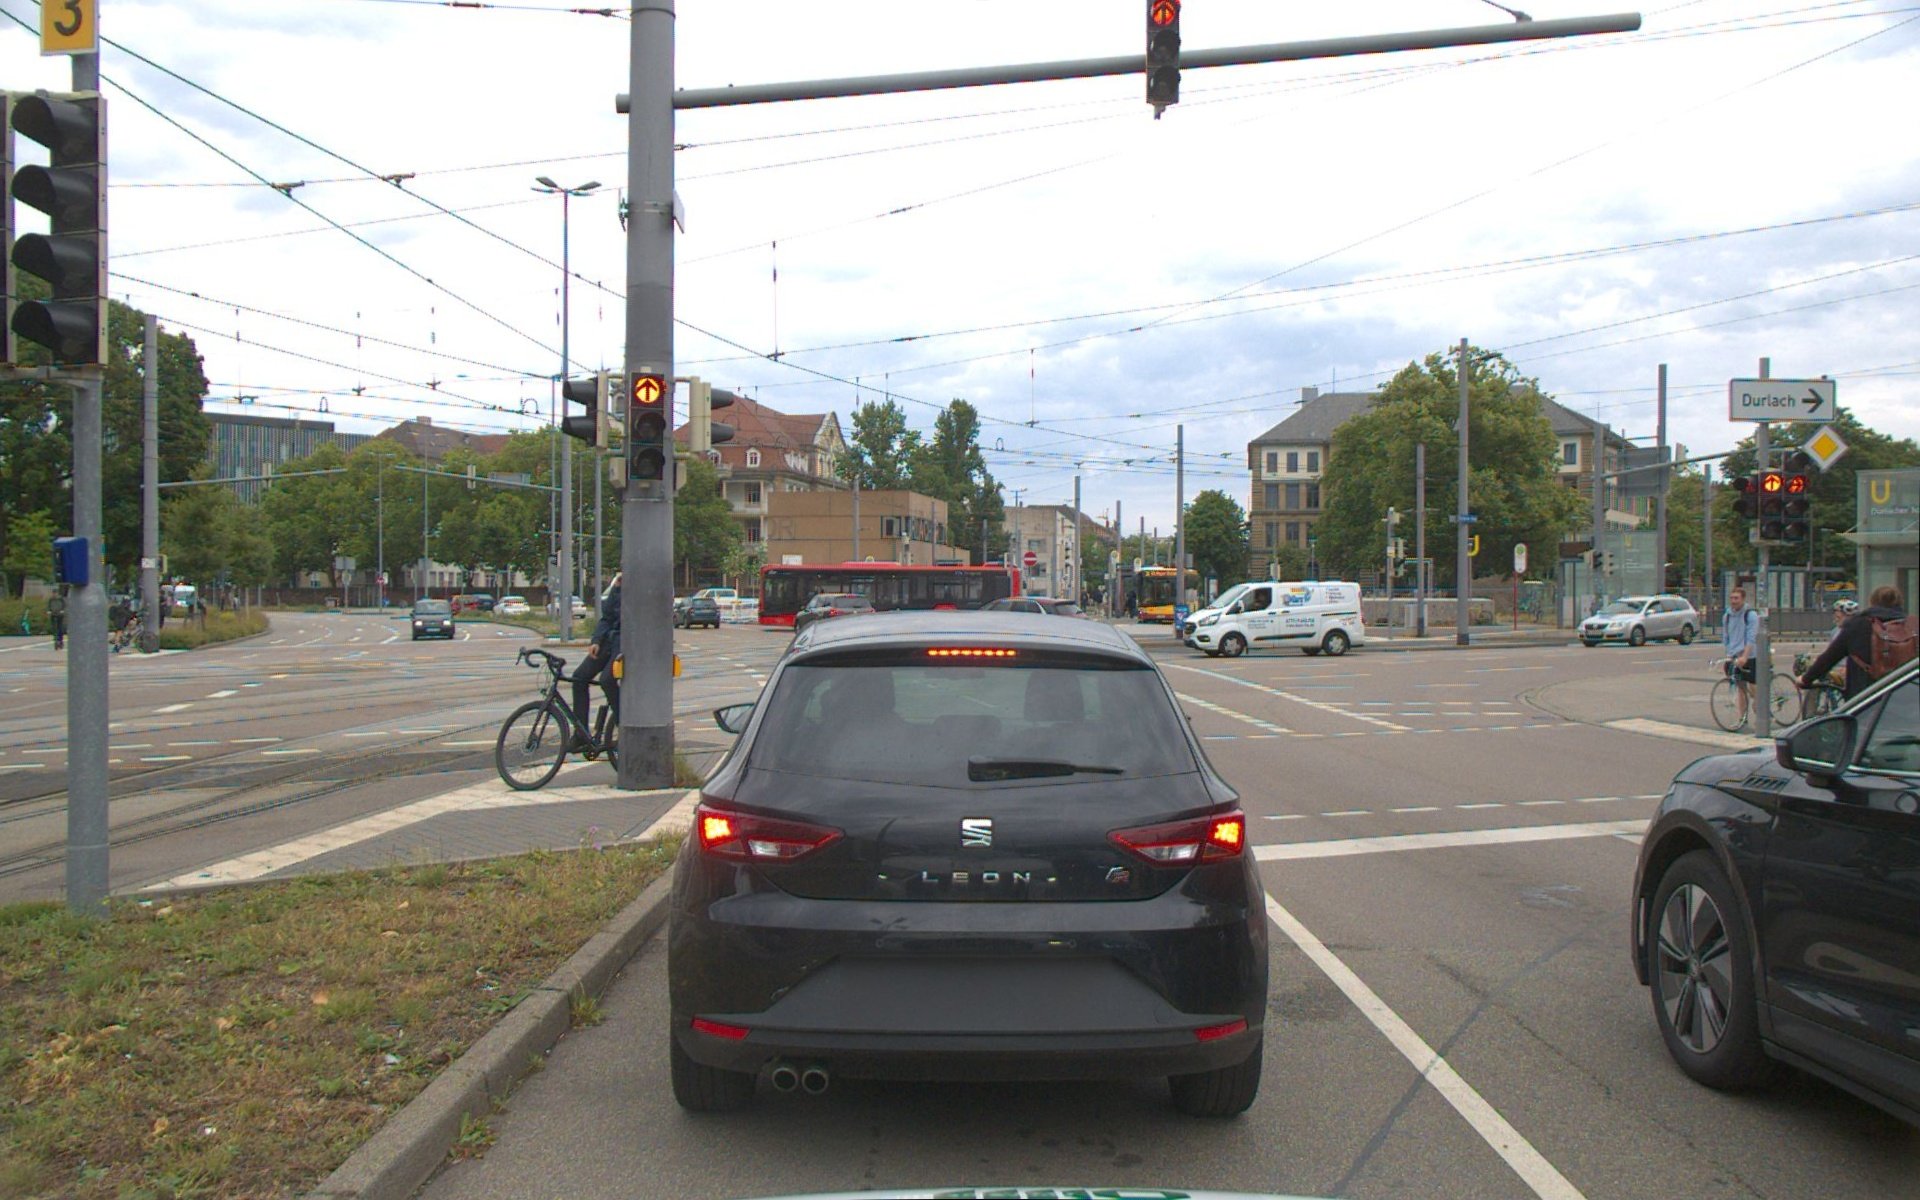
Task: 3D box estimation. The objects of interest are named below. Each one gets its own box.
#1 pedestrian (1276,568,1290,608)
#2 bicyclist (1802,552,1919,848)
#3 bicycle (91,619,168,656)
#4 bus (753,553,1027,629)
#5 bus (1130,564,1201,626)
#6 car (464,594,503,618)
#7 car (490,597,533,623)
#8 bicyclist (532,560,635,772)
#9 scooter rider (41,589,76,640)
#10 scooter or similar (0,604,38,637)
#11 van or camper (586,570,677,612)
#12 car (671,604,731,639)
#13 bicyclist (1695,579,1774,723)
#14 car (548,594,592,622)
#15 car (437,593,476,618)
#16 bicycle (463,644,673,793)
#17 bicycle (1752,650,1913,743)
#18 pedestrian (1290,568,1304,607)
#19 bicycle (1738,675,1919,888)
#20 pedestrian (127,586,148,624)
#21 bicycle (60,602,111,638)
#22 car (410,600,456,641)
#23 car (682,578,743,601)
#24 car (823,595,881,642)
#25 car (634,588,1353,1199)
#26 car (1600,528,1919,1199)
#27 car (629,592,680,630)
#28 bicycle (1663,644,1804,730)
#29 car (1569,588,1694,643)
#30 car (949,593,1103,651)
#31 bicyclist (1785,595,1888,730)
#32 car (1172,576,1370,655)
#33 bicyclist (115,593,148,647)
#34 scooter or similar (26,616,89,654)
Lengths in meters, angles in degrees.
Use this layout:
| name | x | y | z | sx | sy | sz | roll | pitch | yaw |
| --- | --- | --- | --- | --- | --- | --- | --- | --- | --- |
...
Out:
| name | x | y | z | sx | sy | sz | roll | pitch | yaw |
| --- | --- | --- | --- | --- | --- | --- | --- | --- | --- |
| pedestrian | 35.791 | -1.326 | 183.270 | 1.358 | 4.328 | 1.346 | 0 | 0 | 0 |
| bicyclist | 5.630 | 0.577 | 10.039 | 0.603 | 1.720 | 0.805 | 0 | 0 | -3 |
| bicycle | -26.842 | 1.215 | 53.489 | 2.082 | 1.046 | 0.790 | 3 | 0 | -21 |
| bus | -3.072 | -0.382 | 74.810 | 12.078 | 3.355 | 3.070 | 0 | 0 | 4 |
| bus | 11.868 | -0.275 | 94.490 | 2.952 | 3.325 | 13.054 | 0 | 0 | 12 |
| car | -36.486 | 0.466 | 126.550 | 1.973 | 1.780 | 3.959 | 0 | 0 | -30 |
| car | -29.072 | 0.638 | 107.124 | 1.969 | 1.668 | 3.966 | 0 | 0 | -26 |
| bicyclist | -3.057 | 0.517 | 13.436 | 0.649 | 1.668 | 0.510 | 0 | 0 | -40 |
| scooter rider | -29.279 | 0.466 | 53.722 | 0.556 | 1.656 | 0.822 | 0 | 0 | 20 |
| scooter or similar | -38.491 | 0.838 | 67.216 | 1.753 | 1.325 | 0.623 | -1 | 0 | -33 |
| van or camper | -27.355 | -0.753 | 137.900 | 2.828 | 3.390 | 7.102 | -2 | -1 | 44 |
| car | -12.397 | 1.011 | 78.976 | 1.966 | 1.566 | 3.972 | 0 | 0 | -23 |
| bicyclist | 9.878 | 0.634 | 21.101 | 0.724 | 1.782 | 0.581 | -1 | 0 | -27 |
| car | -25.354 | 0.525 | 107.386 | 1.969 | 1.780 | 3.966 | 0 | 0 | -26 |
| car | -36.485 | 0.399 | 119.827 | 1.971 | 1.803 | 3.962 | 0 | 0 | -29 |
| bicycle | -3.146 | 0.925 | 13.356 | 1.599 | 1.088 | 0.520 | -1 | 0 | -41 |
| bicycle | 10.322 | 1.126 | 19.565 | 1.912 | 1.016 | 0.598 | 0 | 0 | -22 |
| pedestrian | 37.313 | -1.385 | 183.231 | 1.280 | 4.328 | 1.346 | 0 | 0 | 0 |
| bicycle | 5.633 | 1.061 | 10.168 | 0.612 | 1.073 | 2.125 | 0 | 1 | -3 |
| pedestrian | -38.617 | 0.242 | 77.632 | 0.734 | 1.764 | 0.683 | -1 | 0 | -15 |
| bicycle | -37.005 | 0.834 | 69.985 | 0.829 | 1.474 | 2.255 | 0 | 0 | 4 |
| car | -20.881 | 0.790 | 65.474 | 1.594 | 1.542 | 3.644 | -1 | 1 | -19 |
| car | -21.491 | -0.914 | 143.696 | 1.967 | 1.897 | 4.969 | -5 | -3 | 45 |
| car | -3.876 | 0.639 | 58.955 | 1.955 | 1.593 | 4.200 | 0 | 0 | -5 |
| car | 0.057 | 0.719 | 5.962 | 1.710 | 1.489 | 3.999 | 1 | 0 | -1 |
| car | 3.339 | 0.659 | 3.782 | 1.865 | 1.687 | 4.513 | 0 | 0 | -2 |
| car | -16.658 | 0.572 | 90.007 | 1.966 | 2.049 | 3.972 | 0 | 0 | -23 |
| bicycle | 9.879 | 1.096 | 21.103 | 1.963 | 1.016 | 0.574 | 0 | -1 | -28 |
| car | 20.439 | 0.454 | 50.254 | 4.590 | 1.508 | 1.699 | -2 | 1 | -42 |
| car | 1.899 | 0.616 | 47.942 | 4.116 | 1.628 | 1.859 | 0 | 0 | 33 |
| bicyclist | 10.360 | 0.722 | 19.559 | 0.871 | 1.548 | 0.668 | 0 | 0 | -21 |
| car | 8.415 | 0.397 | 44.950 | 4.923 | 2.054 | 1.996 | 0 | 0 | -10 |
| bicyclist | -26.807 | 0.651 | 53.504 | 0.801 | 1.685 | 0.789 | -2 | 2 | -21 |
| scooter or similar | -29.279 | 1.112 | 53.701 | 0.560 | 1.185 | 1.907 | 0 | 0 | 20 |
